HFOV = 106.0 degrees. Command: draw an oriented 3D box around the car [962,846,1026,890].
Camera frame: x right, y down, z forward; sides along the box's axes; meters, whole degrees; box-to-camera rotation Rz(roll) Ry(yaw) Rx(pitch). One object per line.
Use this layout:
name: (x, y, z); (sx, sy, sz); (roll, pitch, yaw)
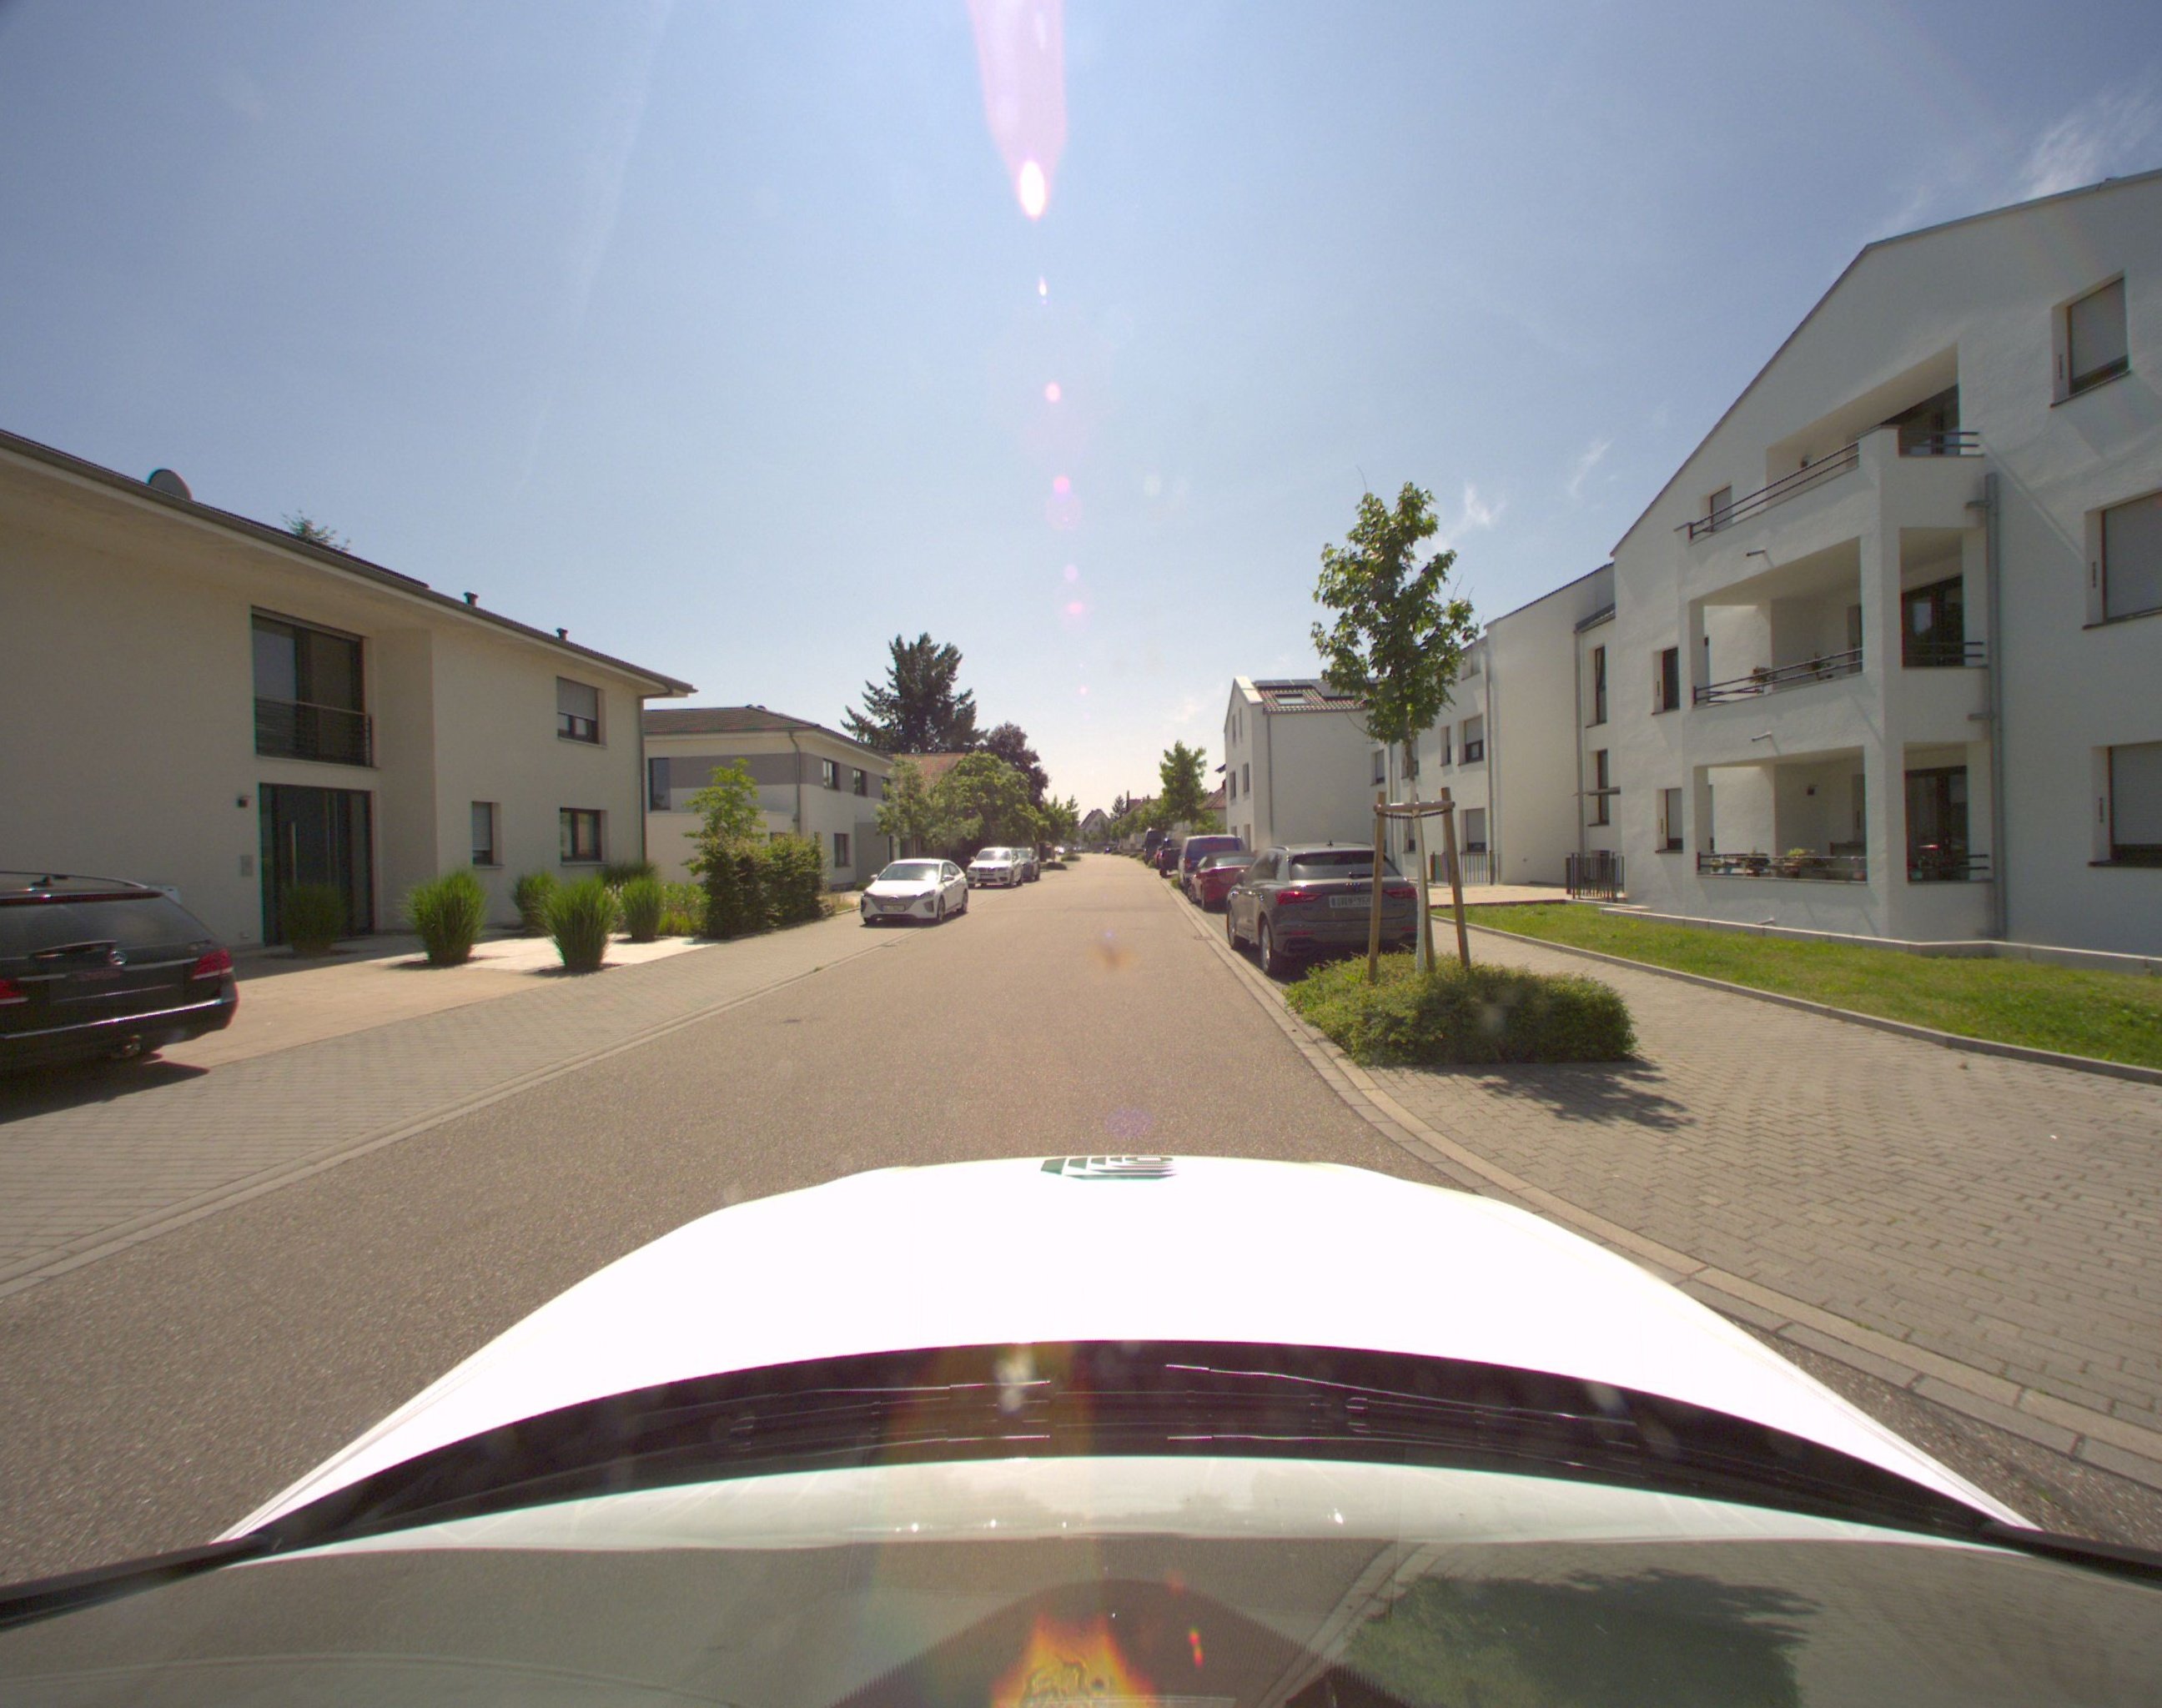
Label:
car: (-3.637, 0.531, 34.916); (1.919, 1.687, 4.503); (-2, 1, 4)

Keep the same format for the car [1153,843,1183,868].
car: (5.953, 0.088, 56.043); (1.664, 1.595, 3.557); (-2, 0, 1)

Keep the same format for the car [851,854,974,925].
car: (-3.975, 0.785, 19.975); (1.844, 1.488, 4.390); (0, 1, 4)

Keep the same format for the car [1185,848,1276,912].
car: (3.761, 0.600, 21.056); (1.674, 1.441, 4.028); (-2, 1, 1)

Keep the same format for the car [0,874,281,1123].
car: (-8.953, 0.931, 6.074); (4.406, 1.473, 1.854); (1, 1, 6)

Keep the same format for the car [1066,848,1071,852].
car: (-3.513, -1.099, 231.731); (1.187, 1.070, 3.047); (-2, 1, -6)

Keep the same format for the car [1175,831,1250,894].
car: (4.358, 0.231, 27.645); (2.090, 1.882, 4.849); (-2, 1, 4)

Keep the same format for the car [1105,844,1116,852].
car: (5.844, -1.206, 161.194); (1.985, 1.574, 4.004); (-2, 1, 3)

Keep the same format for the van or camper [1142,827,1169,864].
van or camper: (6.065, -0.705, 66.891); (1.985, 2.941, 4.004); (-2, 1, 3)

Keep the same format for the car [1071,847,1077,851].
car: (-1.893, -1.360, 222.236); (1.658, 1.250, 3.930); (-2, 1, -1)

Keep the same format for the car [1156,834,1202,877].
car: (4.961, 0.040, 42.007); (1.985, 1.947, 5.220); (-3, 0, 4)

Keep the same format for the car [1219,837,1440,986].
car: (3.101, 0.612, 11.131); (1.767, 1.595, 4.280); (-2, 1, 1)

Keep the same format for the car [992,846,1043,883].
car: (-3.159, 0.484, 41.298); (1.985, 1.680, 4.219); (-2, 1, 4)
